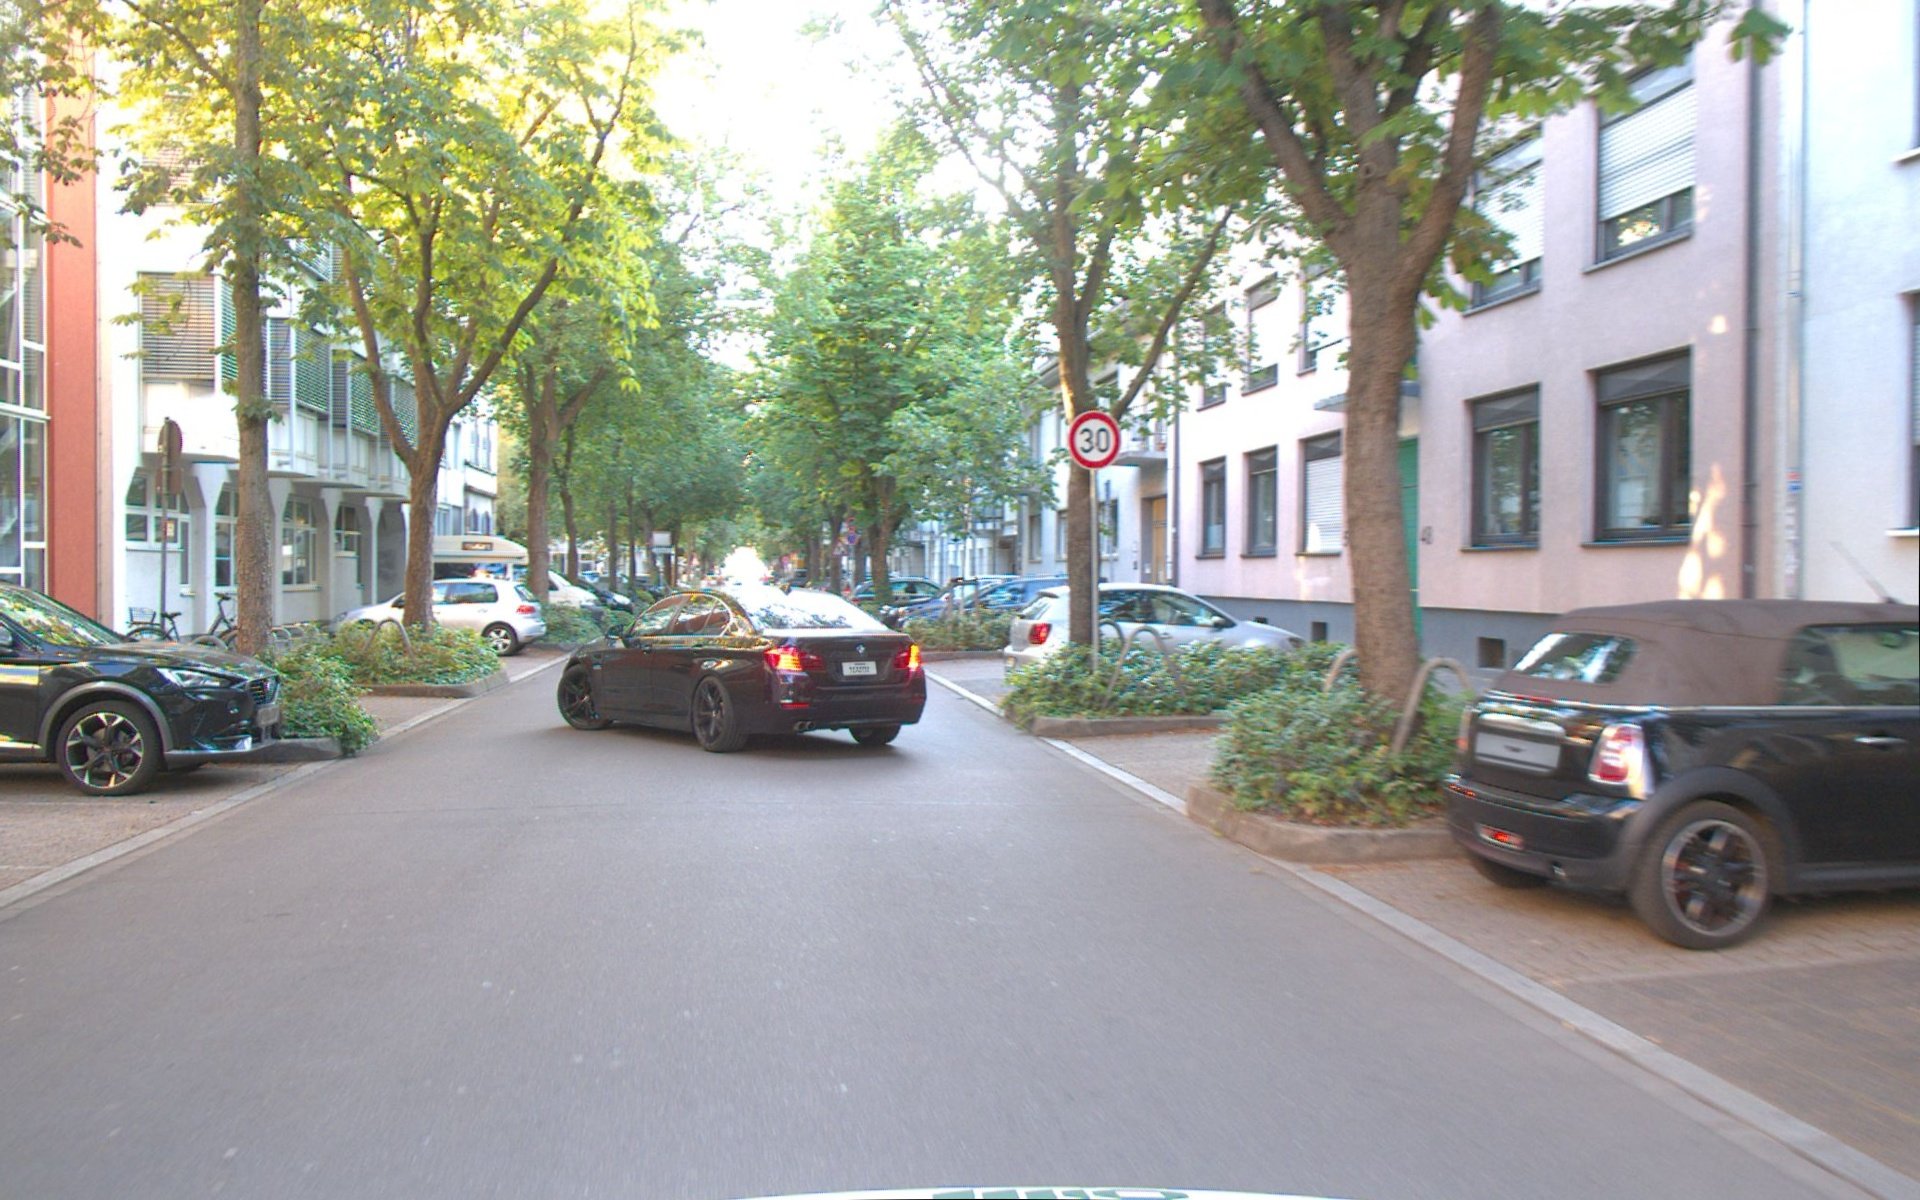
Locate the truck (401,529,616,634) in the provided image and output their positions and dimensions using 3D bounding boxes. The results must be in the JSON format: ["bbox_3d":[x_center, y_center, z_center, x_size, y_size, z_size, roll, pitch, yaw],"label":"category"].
[{"bbox_3d":[-11.214,-0.466,41.335,4.903,2.483,1.914,1,2,-7],"label":"truck"}]

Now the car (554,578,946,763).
[{"bbox_3d":[-2.161,0.538,15.774,1.748,1.475,4.609,0,1,-36],"label":"car"}]

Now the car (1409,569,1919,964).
[{"bbox_3d":[4.189,0.628,7.803,3.639,1.452,1.622,-3,1,-13],"label":"car"}]

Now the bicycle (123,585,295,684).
[{"bbox_3d":[-9.553,0.425,21.096,1.939,1.220,0.499,0,1,-19],"label":"bicycle"}]

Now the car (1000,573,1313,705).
[{"bbox_3d":[2.403,0.444,20.630,3.590,1.505,1.562,-1,1,-10],"label":"car"}]

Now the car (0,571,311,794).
[{"bbox_3d":[-7.325,0.554,12.331,4.274,1.535,1.832,1,1,-8],"label":"car"}]

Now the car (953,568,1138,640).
[{"bbox_3d":[1.760,0.065,34.453,3.590,1.417,1.562,-1,1,-10],"label":"car"}]

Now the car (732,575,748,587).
[{"bbox_3d":[-26.804,-2.316,201.620,1.859,1.500,3.995,0,1,-7],"label":"car"}]

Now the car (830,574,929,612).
[{"bbox_3d":[-3.033,-0.272,62.366,3.590,1.417,1.562,0,1,-10],"label":"car"}]

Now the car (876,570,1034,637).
[{"bbox_3d":[-0.144,0.064,40.861,3.723,1.556,1.562,-1,1,-10],"label":"car"}]

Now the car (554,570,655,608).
[{"bbox_3d":[-14.711,-0.470,68.664,3.946,1.497,1.637,1,1,-8],"label":"car"}]

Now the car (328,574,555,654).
[{"bbox_3d":[-10.266,0.268,32.980,4.054,1.497,1.637,1,1,-8],"label":"car"}]

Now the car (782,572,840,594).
[{"bbox_3d":[-9.450,-1.071,104.933,3.590,1.417,1.562,0,1,-10],"label":"car"}]

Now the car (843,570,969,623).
[{"bbox_3d":[-1.637,-0.111,49.515,3.590,1.563,1.562,0,1,-10],"label":"car"}]

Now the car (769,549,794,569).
[{"bbox_3d":[-14.612,-3.341,135.293,1.956,1.579,3.993,0,1,-8],"label":"car"}]
